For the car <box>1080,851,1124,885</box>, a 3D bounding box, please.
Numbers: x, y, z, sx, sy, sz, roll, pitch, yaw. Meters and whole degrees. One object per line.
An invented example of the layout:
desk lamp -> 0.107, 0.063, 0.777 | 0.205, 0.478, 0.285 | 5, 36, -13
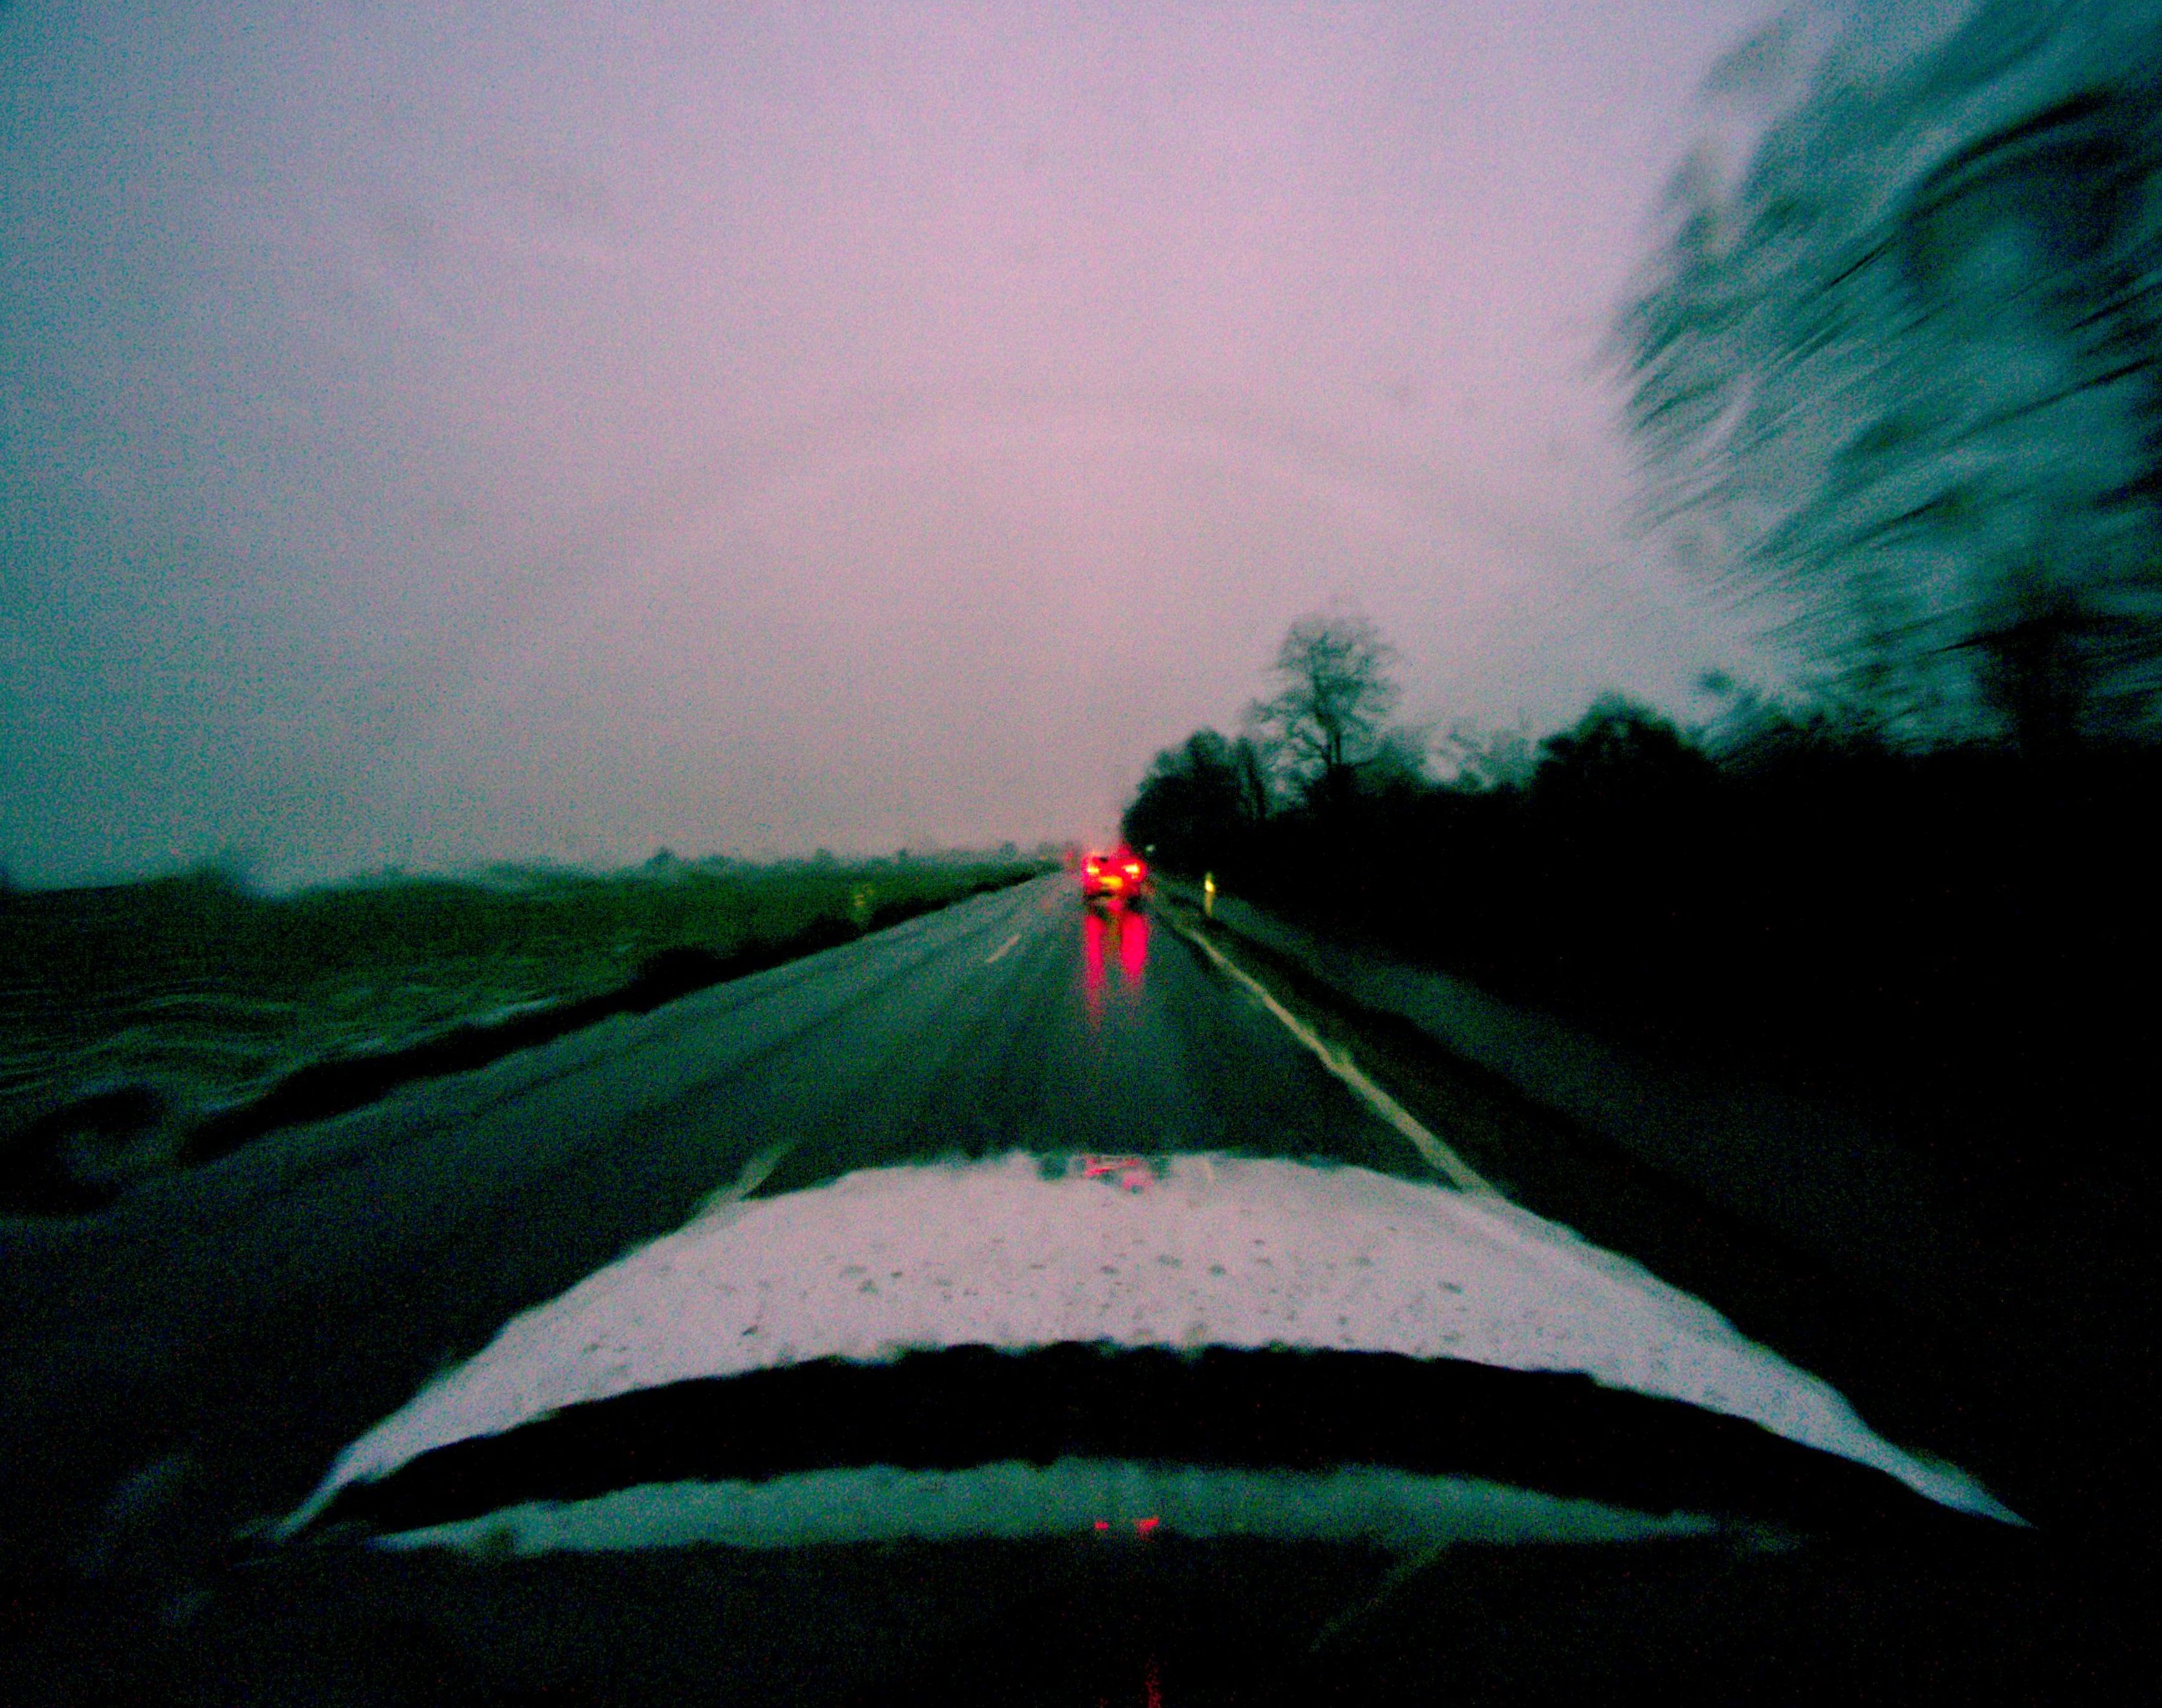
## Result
car -> 1.337, 0.860, 50.896 | 2.582, 2.014, 5.807 | 0, 0, 2

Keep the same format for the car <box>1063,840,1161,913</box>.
car -> 1.006, 0.661, 26.200 | 2.809, 2.077, 5.807 | 0, 0, 2
